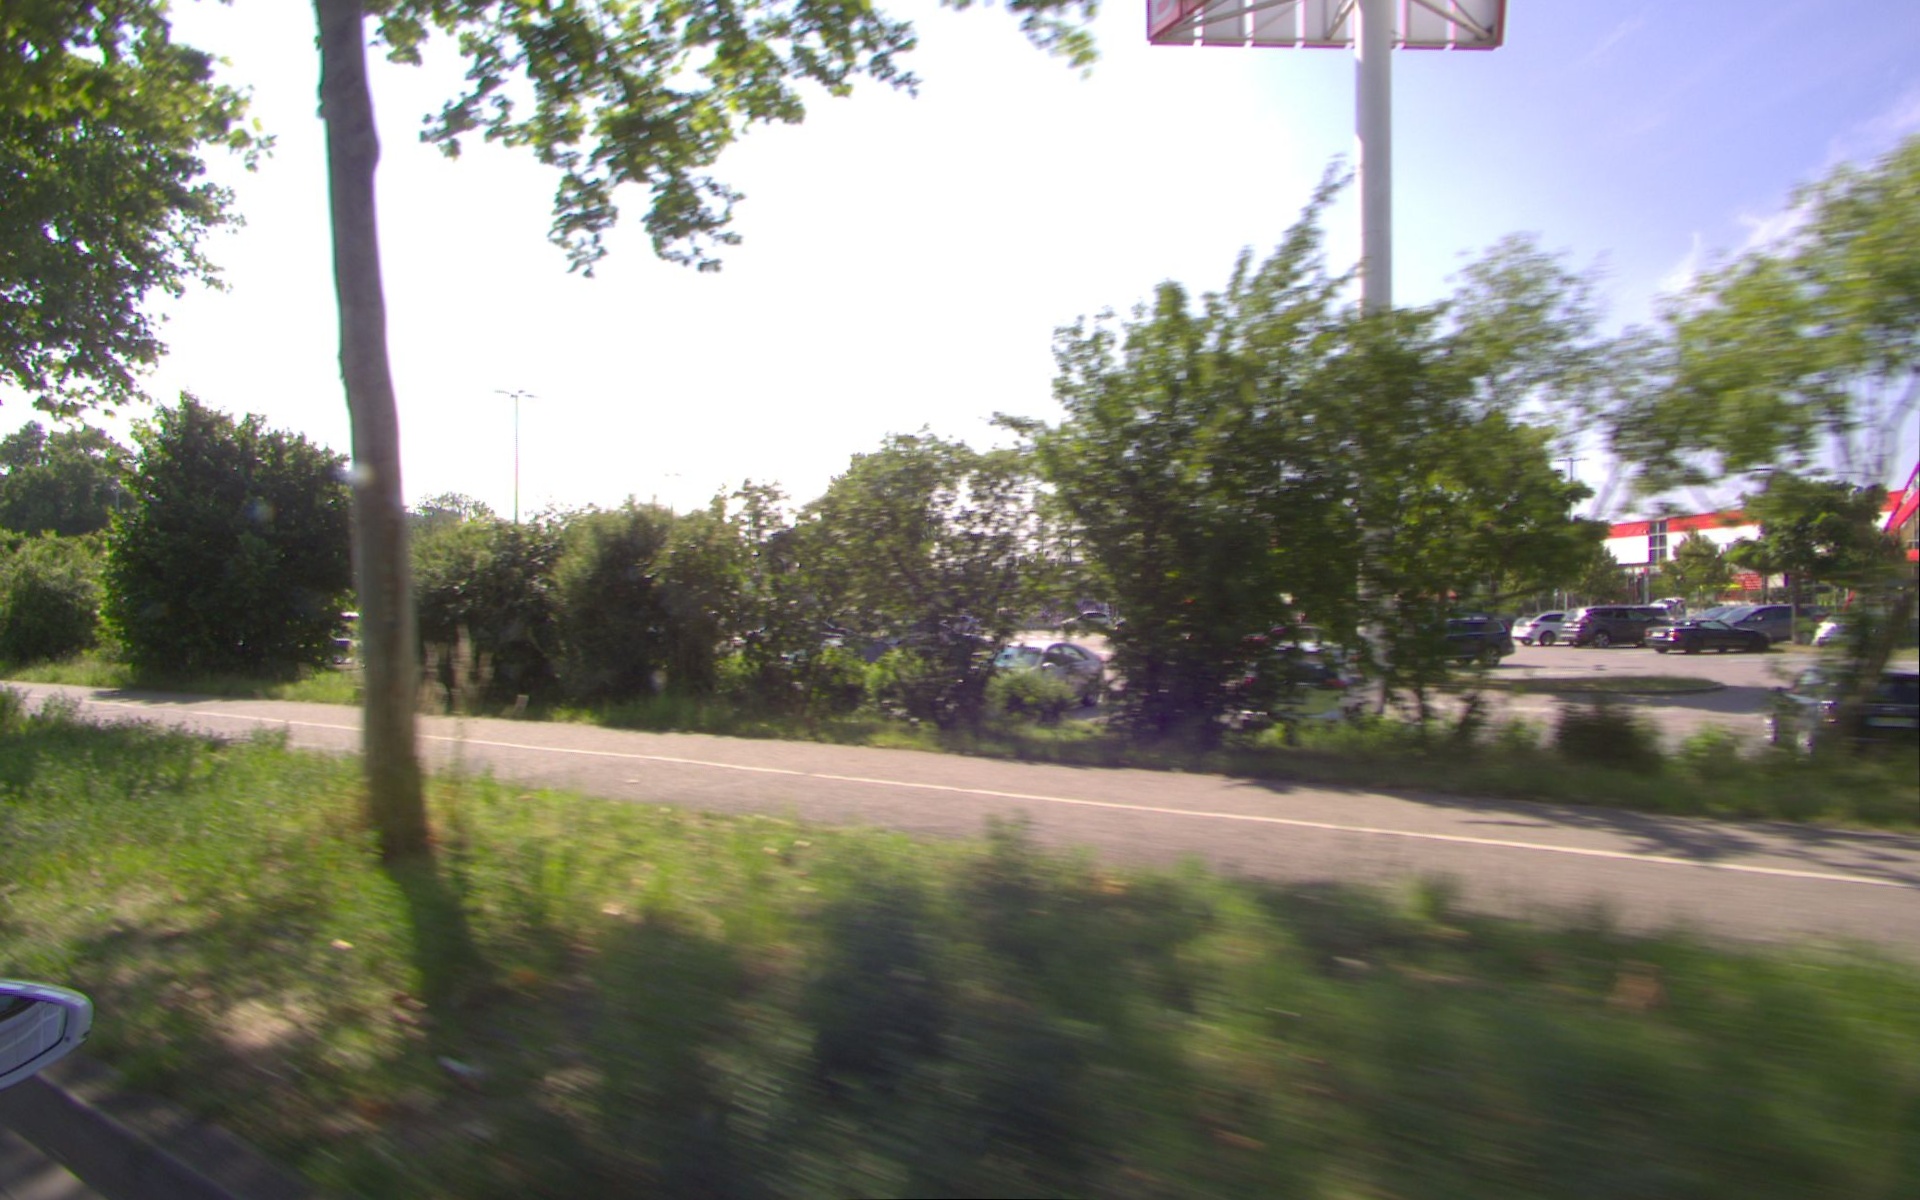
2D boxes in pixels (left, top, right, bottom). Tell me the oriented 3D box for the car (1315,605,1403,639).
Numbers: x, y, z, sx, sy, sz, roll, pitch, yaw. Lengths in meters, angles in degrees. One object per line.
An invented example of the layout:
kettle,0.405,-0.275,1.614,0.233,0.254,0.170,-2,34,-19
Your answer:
car,21.237,1.173,53.459,3.922,1.772,2.001,0,-2,4

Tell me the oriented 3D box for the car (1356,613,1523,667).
car,15.550,1.283,32.617,4.665,1.650,1.629,0,1,-1

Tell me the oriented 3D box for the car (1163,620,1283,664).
car,9.276,1.462,35.463,3.716,1.505,1.781,0,-1,-6

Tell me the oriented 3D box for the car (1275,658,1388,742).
car,6.593,1.671,17.573,1.178,1.240,3.956,-1,-3,31

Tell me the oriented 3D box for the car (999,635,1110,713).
car,2.131,1.556,21.897,1.178,1.475,3.147,-1,0,31

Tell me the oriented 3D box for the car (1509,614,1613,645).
car,26.155,1.290,43.662,3.523,1.340,1.603,0,-2,5

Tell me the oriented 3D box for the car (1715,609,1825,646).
car,33.143,1.141,41.032,3.125,1.500,1.603,0,-2,5

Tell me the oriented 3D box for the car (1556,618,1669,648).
car,26.678,1.360,41.013,3.523,1.239,1.603,0,-2,5

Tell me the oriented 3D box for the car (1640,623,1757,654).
car,26.608,1.386,36.119,3.125,1.073,1.519,0,-2,-3

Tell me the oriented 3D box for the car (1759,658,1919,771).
car,12.738,1.536,14.225,1.716,1.239,3.574,-1,-1,32
